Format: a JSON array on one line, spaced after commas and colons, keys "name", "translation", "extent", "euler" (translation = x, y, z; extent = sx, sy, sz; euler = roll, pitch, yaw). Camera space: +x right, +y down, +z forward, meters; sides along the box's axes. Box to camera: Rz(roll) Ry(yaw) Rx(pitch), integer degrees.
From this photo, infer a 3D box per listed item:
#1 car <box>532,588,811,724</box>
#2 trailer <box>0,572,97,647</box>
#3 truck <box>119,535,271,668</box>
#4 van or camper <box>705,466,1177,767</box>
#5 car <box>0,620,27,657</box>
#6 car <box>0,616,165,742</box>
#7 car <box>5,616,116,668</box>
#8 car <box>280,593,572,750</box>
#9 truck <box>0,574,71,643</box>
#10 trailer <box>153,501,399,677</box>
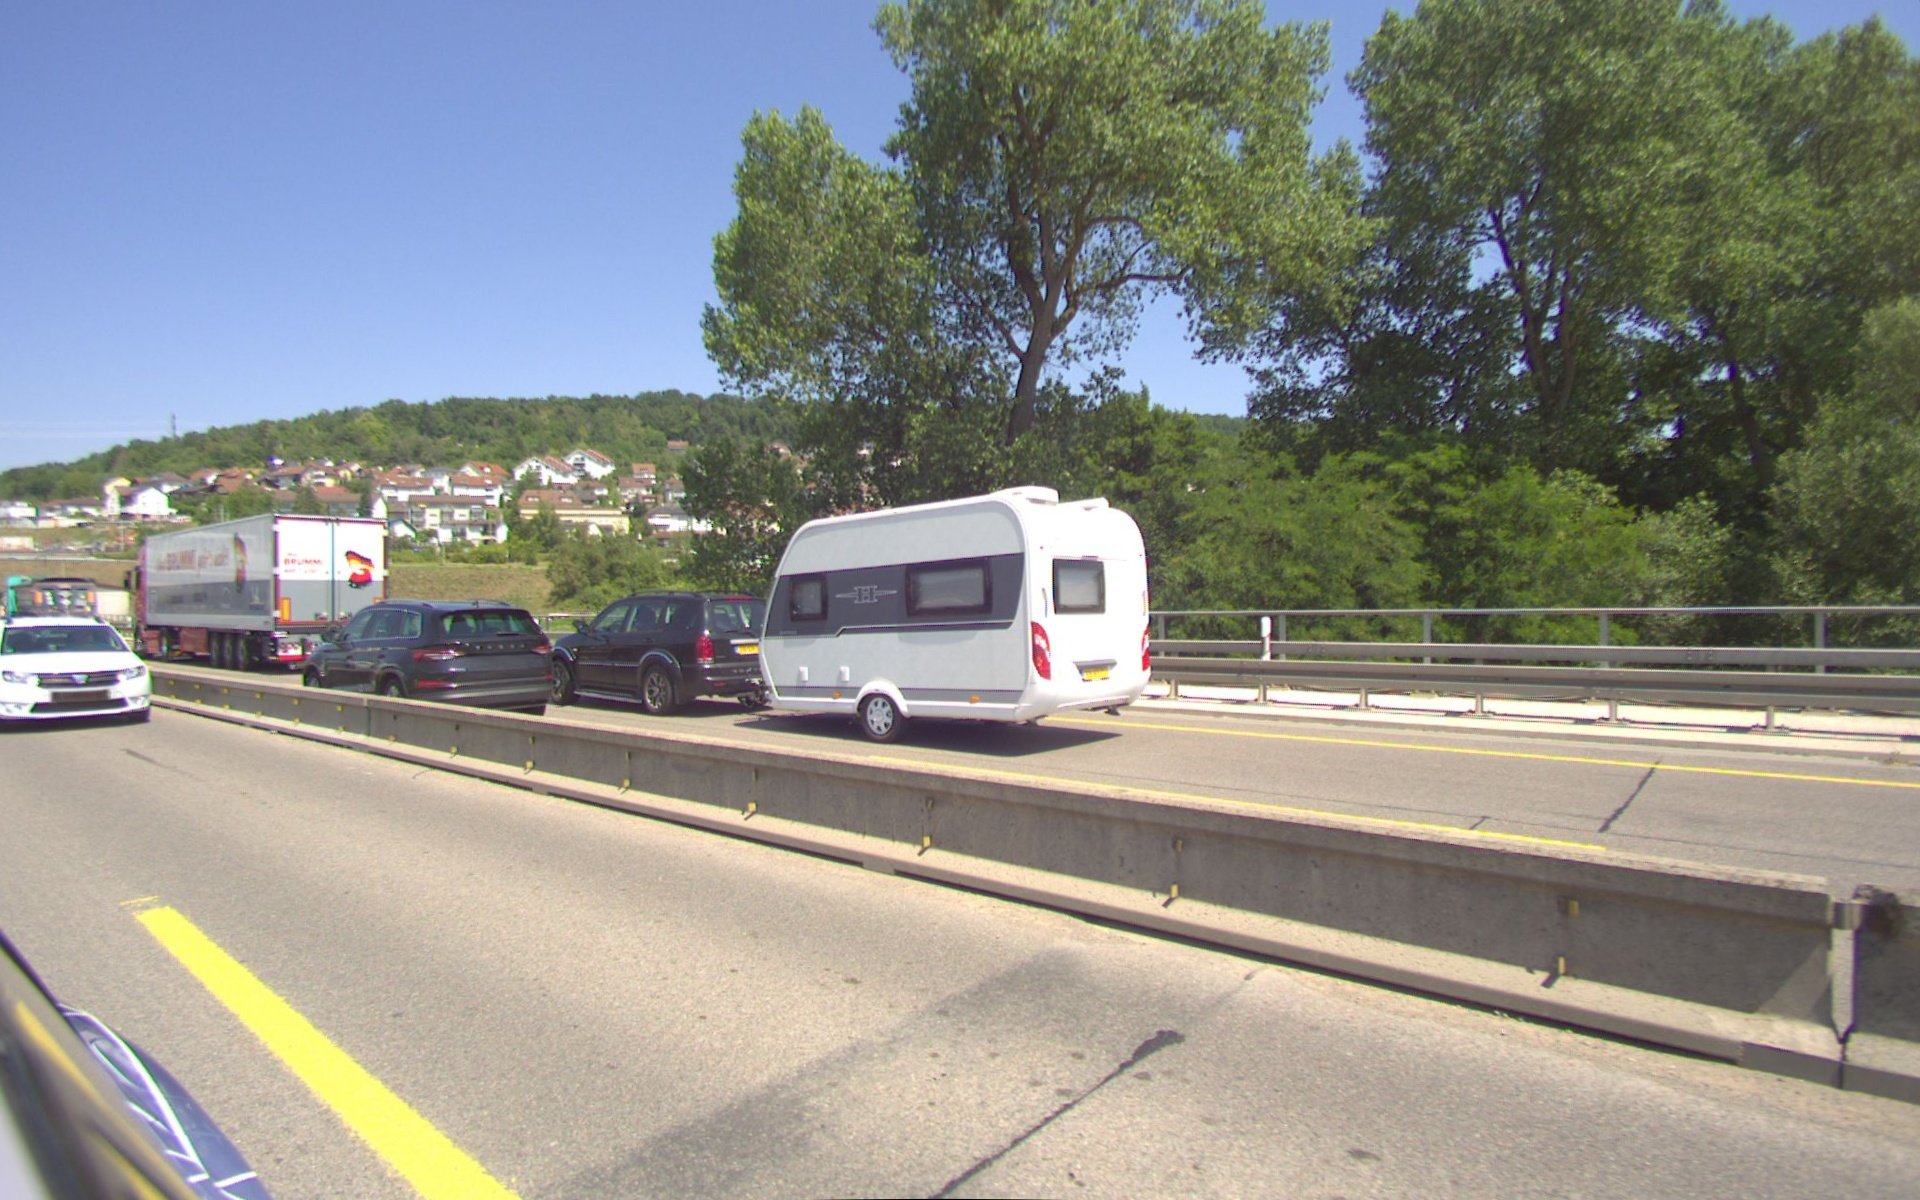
[{"name": "car", "translation": [-4.495, 0.756, 15.297], "extent": [4.789, 1.747, 1.749], "euler": [-1, -1, 41]}, {"name": "trailer", "translation": [-48.995, 0.517, 54.226], "extent": [8.949, 3.700, 2.766], "euler": [-1, 0, 40]}, {"name": "truck", "translation": [-25.881, 0.106, 34.134], "extent": [6.519, 4.068, 2.787], "euler": [-2, -1, 41]}, {"name": "van or camper", "translation": [-0.420, 0.188, 11.853], "extent": [5.242, 2.719, 2.477], "euler": [-1, -1, 42]}, {"name": "car", "translation": [-42.062, 1.669, 43.844], "extent": [4.916, 1.499, 1.871], "euler": [-1, 0, 41]}, {"name": "car", "translation": [-13.339, 1.039, 14.844], "extent": [4.704, 1.542, 1.800], "euler": [-1, 0, 41]}, {"name": "car", "translation": [-27.425, 1.288, 30.814], "extent": [4.190, 1.472, 1.882], "euler": [-2, -3, 40]}, {"name": "car", "translation": [-7.207, 0.831, 13.438], "extent": [4.615, 1.700, 1.829], "euler": [-1, 1, 41]}, {"name": "truck", "translation": [-52.899, 0.471, 57.542], "extent": [5.370, 3.750, 2.768], "euler": [0, 0, 40]}, {"name": "trailer", "translation": [-19.943, -0.126, 29.003], "extent": [11.789, 4.208, 2.778], "euler": [-2, -1, 40]}]
